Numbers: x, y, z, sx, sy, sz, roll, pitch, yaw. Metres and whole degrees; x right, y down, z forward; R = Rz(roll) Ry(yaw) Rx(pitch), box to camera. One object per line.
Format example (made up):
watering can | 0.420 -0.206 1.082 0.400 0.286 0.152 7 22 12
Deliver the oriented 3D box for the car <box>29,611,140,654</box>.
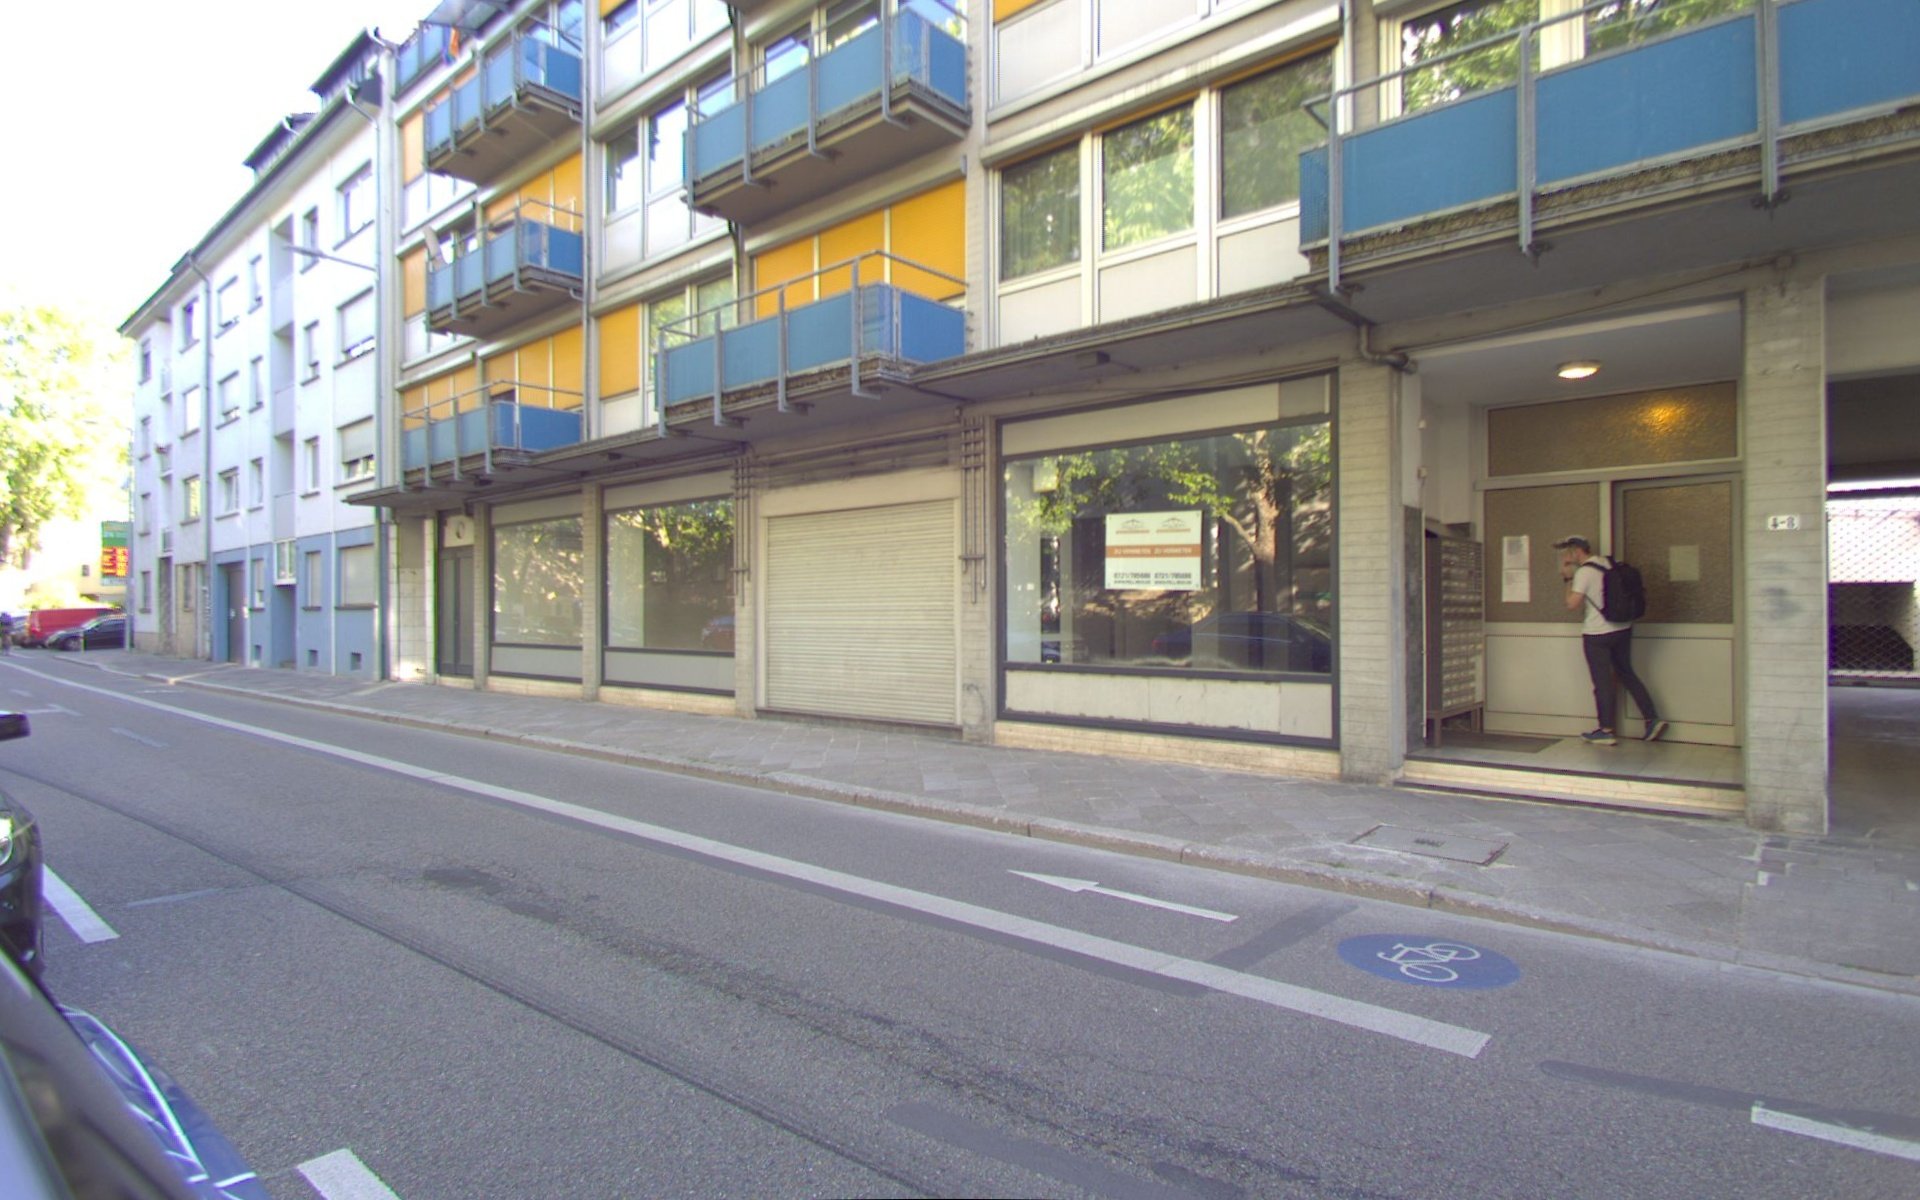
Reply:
car | -43.430 1.587 50.251 2.000 1.962 3.944 -1 0 42

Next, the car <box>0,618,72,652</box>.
car | -57.407 2.103 62.282 2.000 1.962 3.944 -1 0 42

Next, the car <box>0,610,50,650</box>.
car | -62.798 1.975 66.784 2.000 2.538 3.944 -1 0 42

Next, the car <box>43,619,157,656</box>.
car | -41.175 1.757 48.526 2.000 1.564 3.944 -1 0 42

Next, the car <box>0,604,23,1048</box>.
car | -5.522 0.811 4.279 4.479 1.512 1.842 -1 -1 41

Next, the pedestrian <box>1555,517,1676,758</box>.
pedestrian | 5.464 0.298 8.440 0.785 1.894 0.574 -1 0 38

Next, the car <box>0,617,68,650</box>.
car | -59.206 2.127 64.015 2.000 1.962 3.944 -1 0 42

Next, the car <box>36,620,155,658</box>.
car | -39.756 1.738 46.605 2.000 1.564 3.944 -1 0 42

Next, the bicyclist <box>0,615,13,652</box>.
bicyclist | -38.714 1.342 40.783 0.795 1.461 0.746 -1 0 41

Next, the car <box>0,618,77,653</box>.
car | -55.601 2.079 60.564 2.000 1.962 3.944 -1 0 42

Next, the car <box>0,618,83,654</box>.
car | -53.520 2.052 58.611 2.000 1.962 3.944 -1 0 42

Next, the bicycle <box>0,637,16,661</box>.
bicycle | -38.760 1.977 40.825 2.217 0.928 0.756 -1 0 41
